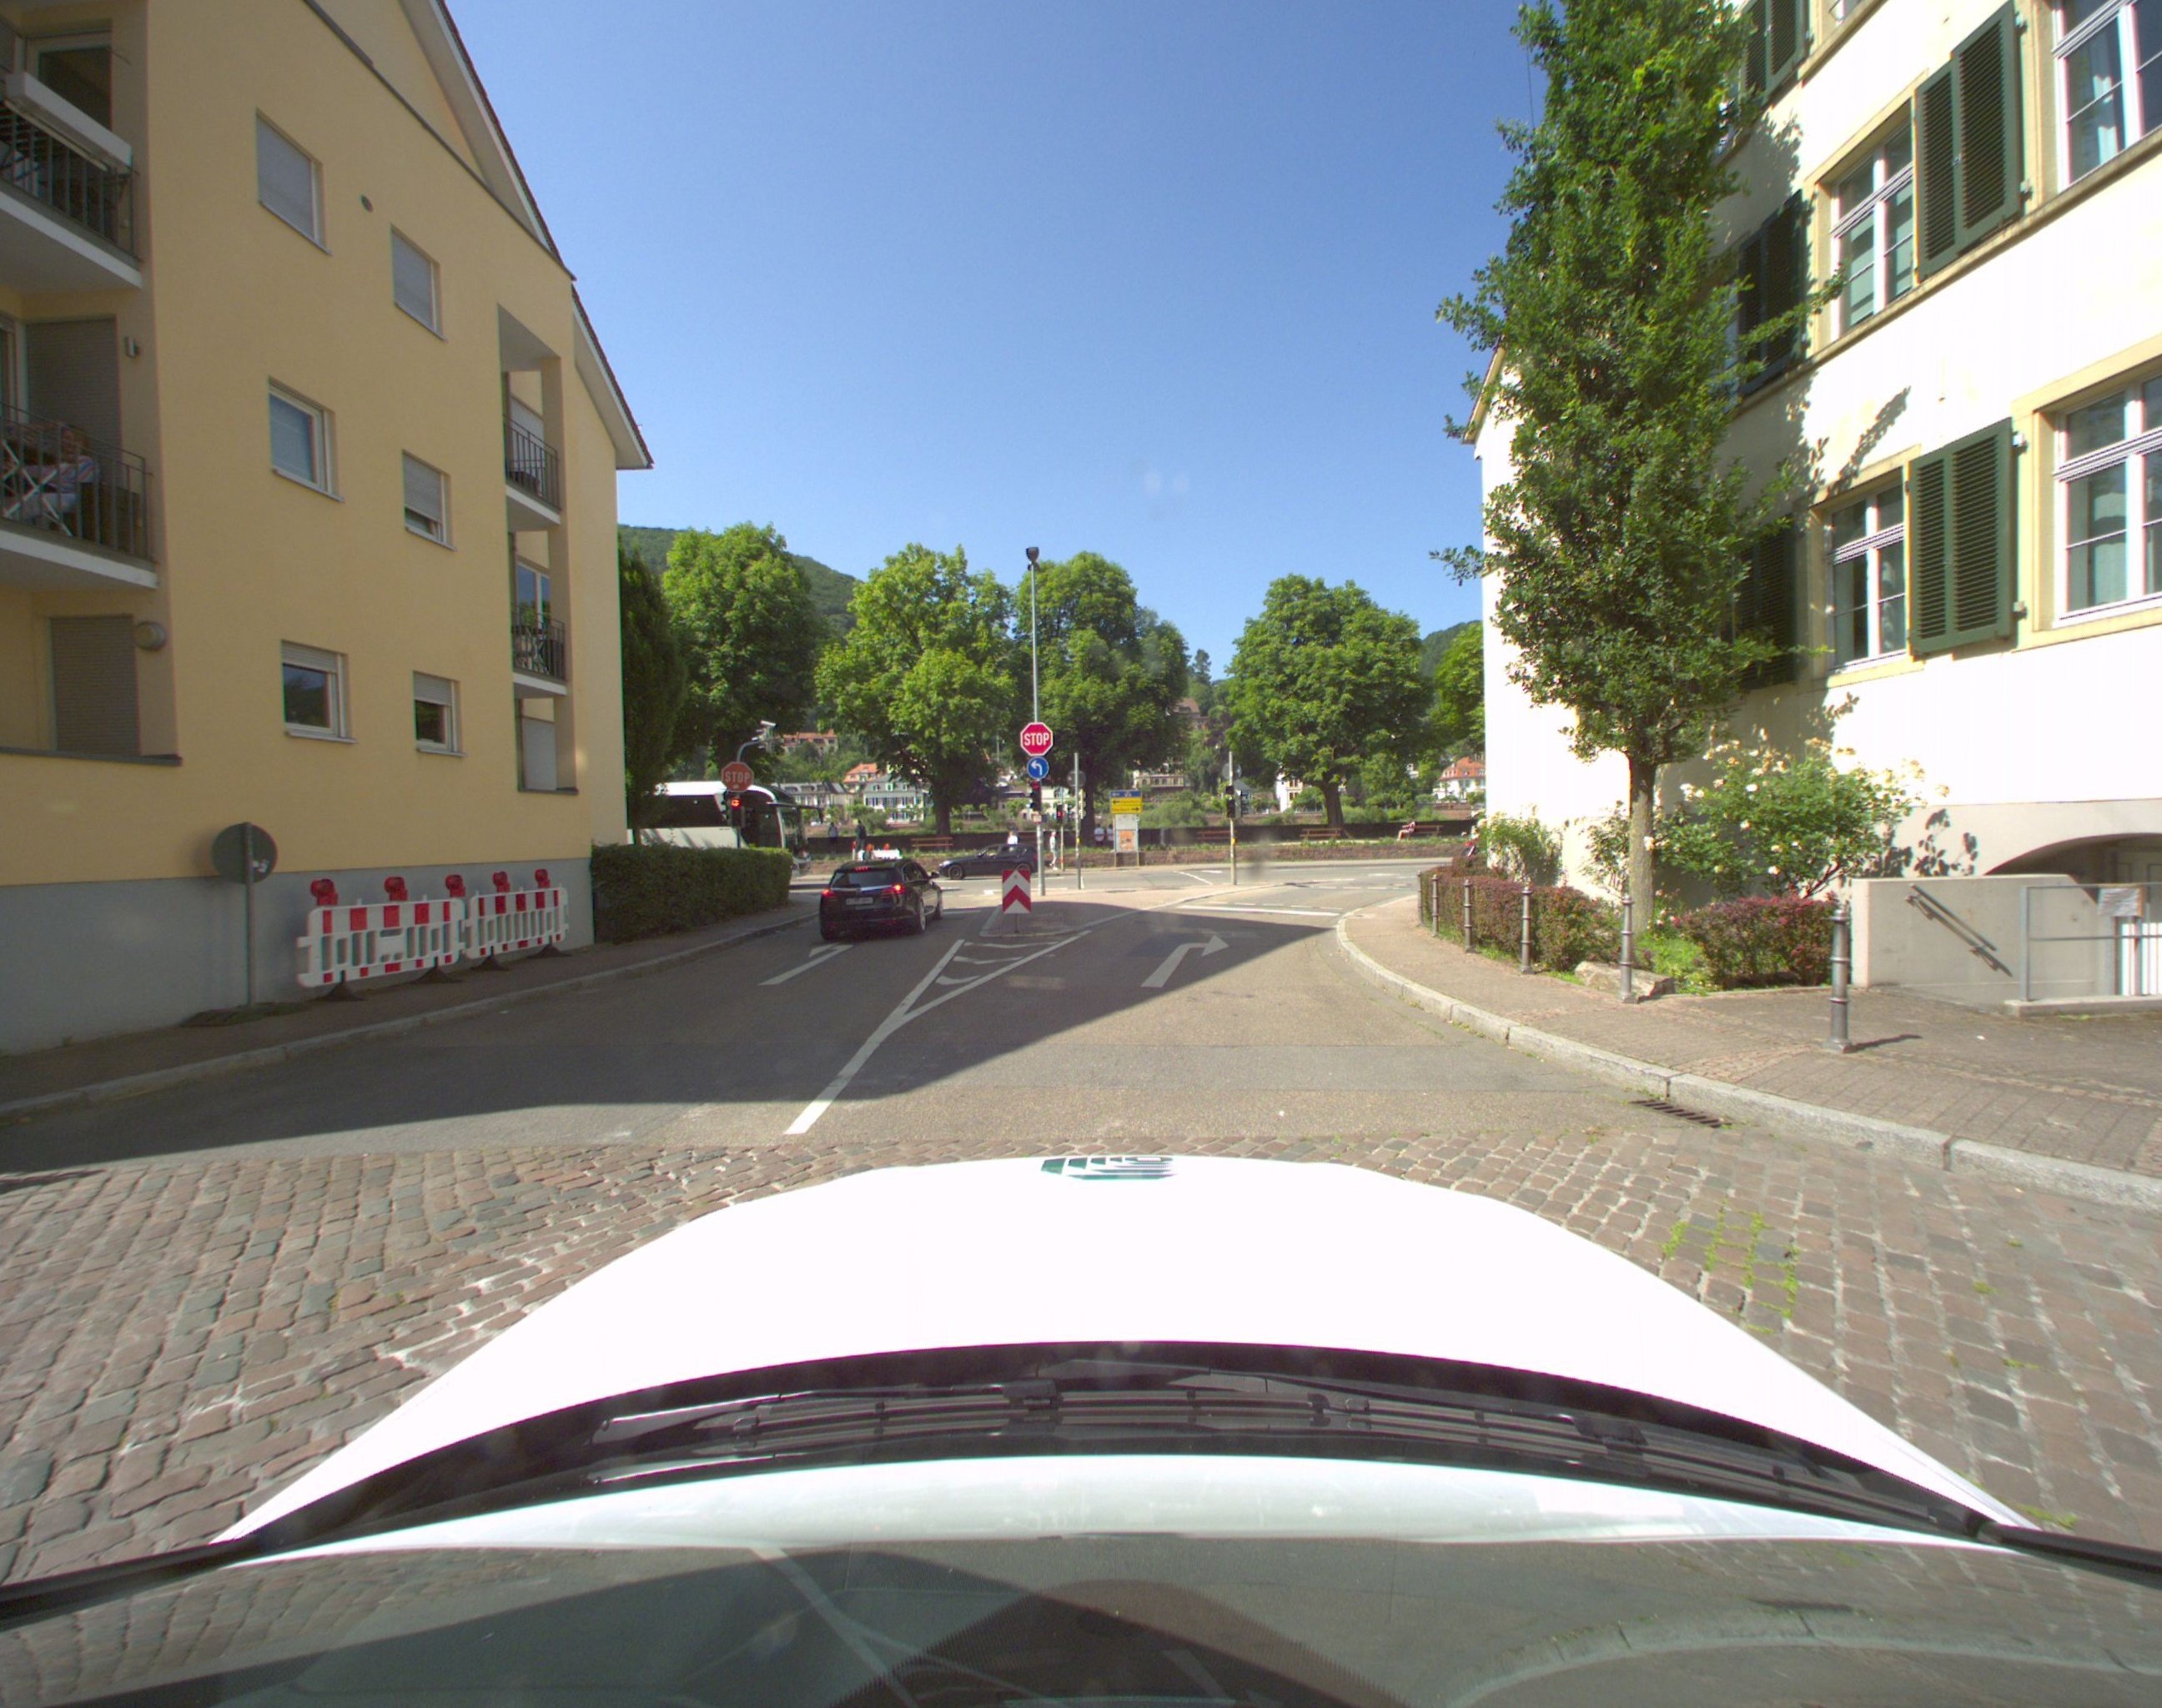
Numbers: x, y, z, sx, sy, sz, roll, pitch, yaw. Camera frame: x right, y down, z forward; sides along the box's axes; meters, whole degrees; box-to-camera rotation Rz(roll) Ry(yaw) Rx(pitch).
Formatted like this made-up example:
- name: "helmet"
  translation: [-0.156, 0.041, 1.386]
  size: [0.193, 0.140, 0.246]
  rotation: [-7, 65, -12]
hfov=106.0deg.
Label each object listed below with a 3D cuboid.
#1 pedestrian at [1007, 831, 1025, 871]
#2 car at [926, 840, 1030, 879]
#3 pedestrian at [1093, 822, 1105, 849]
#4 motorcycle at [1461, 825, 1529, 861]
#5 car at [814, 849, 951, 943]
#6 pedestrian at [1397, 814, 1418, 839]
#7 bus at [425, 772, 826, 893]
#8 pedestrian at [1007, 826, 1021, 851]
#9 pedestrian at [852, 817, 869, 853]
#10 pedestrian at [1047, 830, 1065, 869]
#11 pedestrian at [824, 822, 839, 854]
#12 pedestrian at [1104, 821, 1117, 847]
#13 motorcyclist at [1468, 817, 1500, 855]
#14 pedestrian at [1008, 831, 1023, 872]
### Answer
- name: "pedestrian"
  translation: [-2.969, -0.127, 37.250]
  size: [0.719, 1.802, 0.634]
  rotation: [-3, 0, 1]
- name: "car"
  translation: [-4.136, 0.201, 33.090]
  size: [3.976, 1.418, 1.874]
  rotation: [-1, 1, -2]
- name: "pedestrian"
  translation: [0.908, -0.919, 40.754]
  size: [0.551, 1.279, 0.703]
  rotation: [1, -2, -2]
- name: "motorcycle"
  translation: [17.115, -0.461, 33.667]
  size: [2.459, 1.376, 0.762]
  rotation: [-2, 1, -5]
- name: "car"
  translation: [-3.823, 0.721, 16.516]
  size: [1.710, 1.462, 4.721]
  rotation: [-3, 1, -2]
- name: "pedestrian"
  translation: [16.669, -1.403, 41.585]
  size: [0.795, 1.211, 0.715]
  rotation: [1, -2, 1]
- name: "bus"
  translation: [-15.601, -0.772, 28.720]
  size: [12.115, 3.787, 2.903]
  rotation: [-1, 1, -4]
- name: "pedestrian"
  translation: [-3.322, -0.769, 40.299]
  size: [0.641, 1.228, 0.412]
  rotation: [1, -2, -12]
- name: "pedestrian"
  translation: [-11.562, -0.972, 42.715]
  size: [0.765, 1.857, 0.752]
  rotation: [-1, 0, -20]
- name: "pedestrian"
  translation: [-1.133, -0.199, 37.376]
  size: [0.687, 1.769, 0.715]
  rotation: [-2, 0, -8]
- name: "pedestrian"
  translation: [-13.830, -0.897, 45.099]
  size: [0.708, 1.731, 0.753]
  rotation: [-1, 0, -12]
- name: "pedestrian"
  translation: [1.484, -0.994, 40.904]
  size: [0.551, 1.228, 0.985]
  rotation: [1, -2, -2]
- name: "motorcyclist"
  translation: [16.646, -0.750, 33.656]
  size: [0.870, 1.494, 0.817]
  rotation: [-3, 1, -5]
- name: "pedestrian"
  translation: [-2.926, -0.117, 36.404]
  size: [0.576, 1.801, 0.705]
  rotation: [-1, 1, 1]
